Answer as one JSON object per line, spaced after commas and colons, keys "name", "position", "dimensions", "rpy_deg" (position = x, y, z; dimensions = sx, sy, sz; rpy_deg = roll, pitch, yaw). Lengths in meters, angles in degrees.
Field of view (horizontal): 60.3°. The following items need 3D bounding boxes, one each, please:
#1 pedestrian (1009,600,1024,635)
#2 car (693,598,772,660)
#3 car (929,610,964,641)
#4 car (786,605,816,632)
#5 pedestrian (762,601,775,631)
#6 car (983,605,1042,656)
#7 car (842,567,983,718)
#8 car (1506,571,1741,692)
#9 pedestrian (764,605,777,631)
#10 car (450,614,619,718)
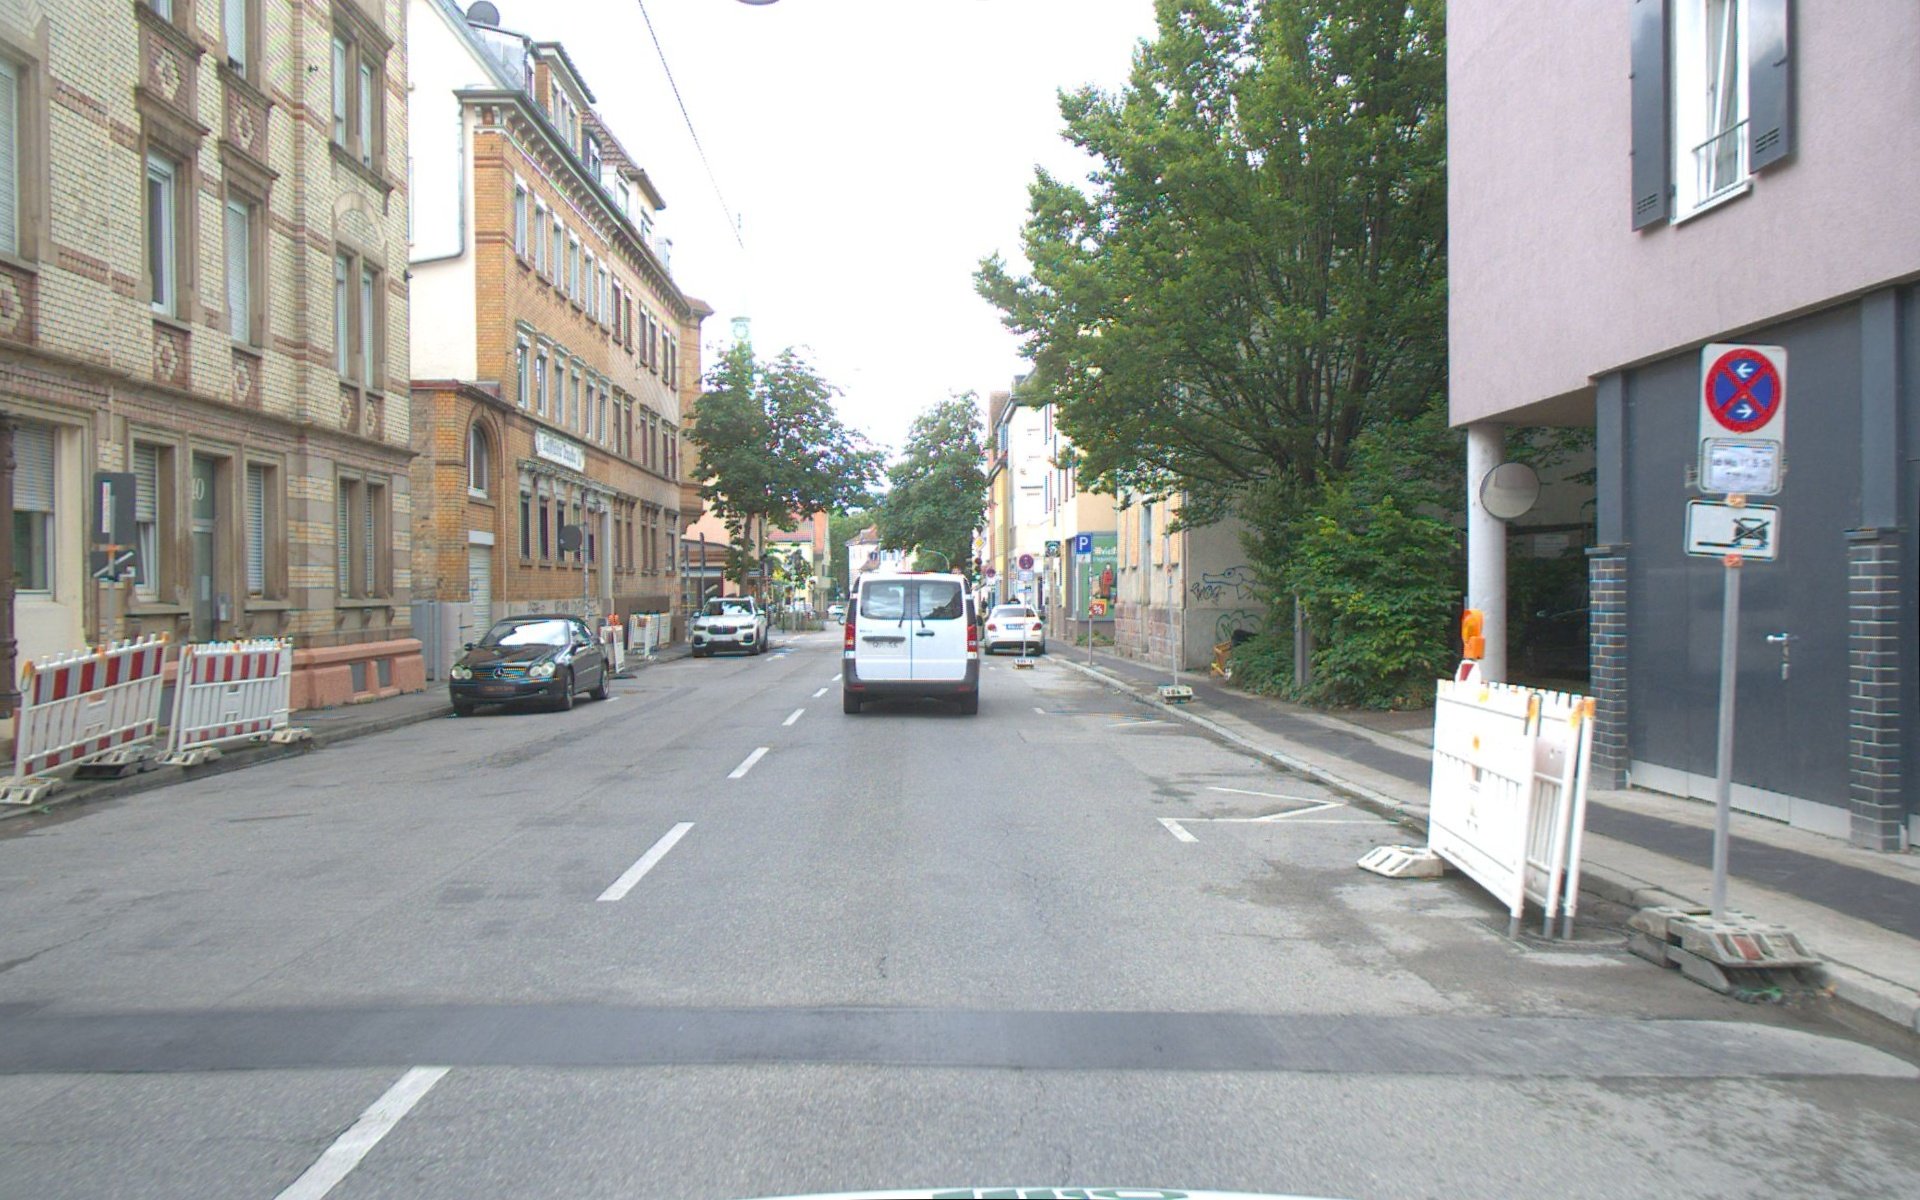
{"name": "pedestrian", "position": [2.729, 0.836, 80.254], "dimensions": [0.602, 1.682, 0.982], "rpy_deg": [1, 0, -4]}
{"name": "car", "position": [-6.935, 0.851, 50.778], "dimensions": [1.853, 1.742, 4.739], "rpy_deg": [-2, 0, -2]}
{"name": "car", "position": [-0.850, 1.520, 99.773], "dimensions": [1.784, 1.812, 4.398], "rpy_deg": [0, -1, -5]}
{"name": "car", "position": [-10.040, 1.130, 104.780], "dimensions": [1.669, 1.601, 4.447], "rpy_deg": [-2, 0, -4]}
{"name": "pedestrian", "position": [-11.325, 0.947, 97.621], "dimensions": [0.724, 1.748, 1.155], "rpy_deg": [0, 0, -5]}
{"name": "car", "position": [1.577, 0.900, 51.167], "dimensions": [1.731, 1.491, 4.783], "rpy_deg": [0, 0, 1]}
{"name": "car", "position": [-0.696, 0.565, 23.500], "dimensions": [1.835, 1.945, 3.998], "rpy_deg": [0, 0, -2]}
{"name": "car", "position": [9.949, 0.415, 25.132], "dimensions": [1.604, 1.612, 3.995], "rpy_deg": [-3, 1, -6]}
{"name": "pedestrian", "position": [-11.484, 1.071, 100.402], "dimensions": [0.724, 1.562, 0.982], "rpy_deg": [0, 0, -4]}
{"name": "car", "position": [-6.532, 0.962, 25.832], "dimensions": [1.547, 1.407, 4.353], "rpy_deg": [-2, 0, -1]}
